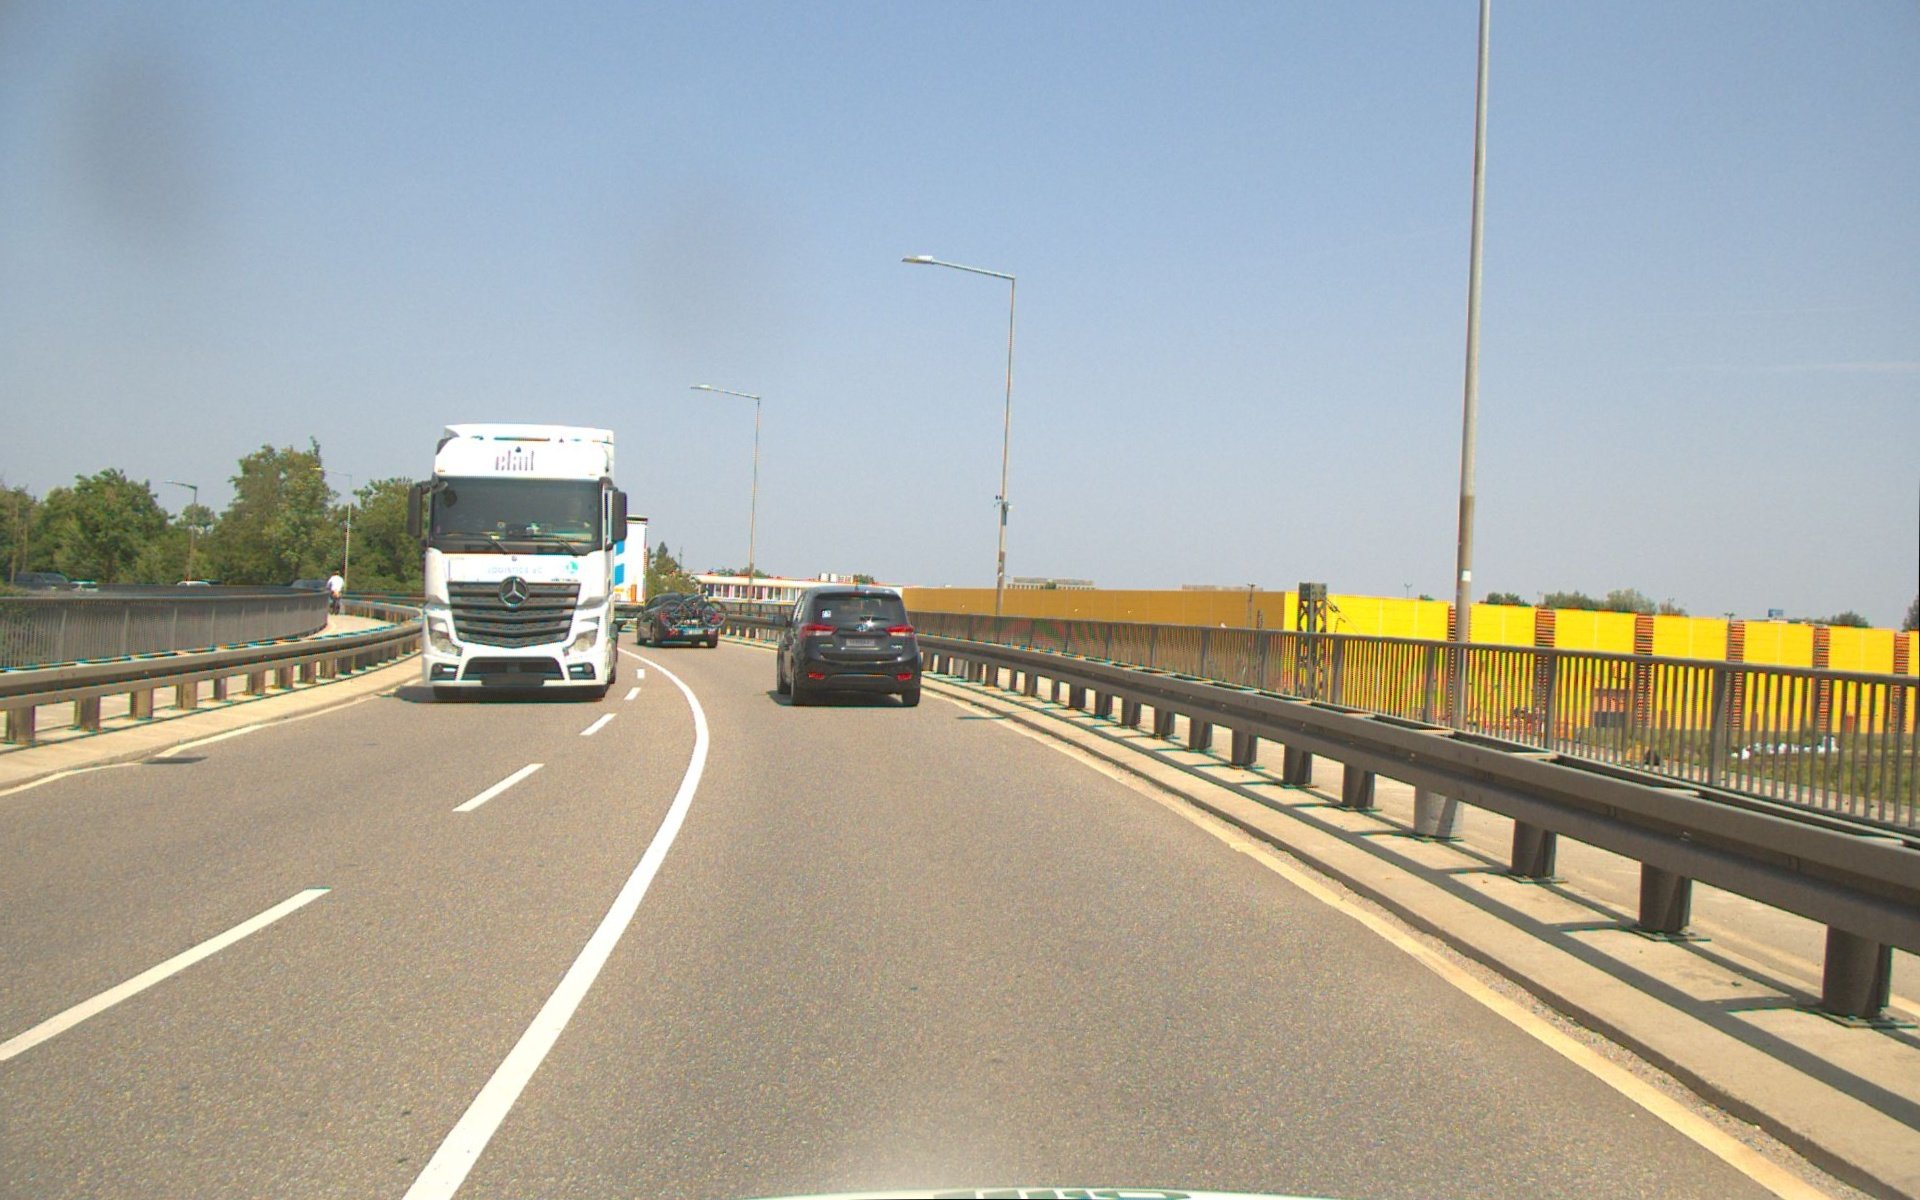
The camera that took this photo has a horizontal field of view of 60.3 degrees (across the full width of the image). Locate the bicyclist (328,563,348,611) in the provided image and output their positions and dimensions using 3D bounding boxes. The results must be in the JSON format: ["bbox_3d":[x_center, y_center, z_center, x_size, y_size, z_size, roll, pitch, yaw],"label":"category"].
[{"bbox_3d":[-25.375,-0.526,67.461,0.618,1.919,0.705,1,0,-31],"label":"bicyclist"}]

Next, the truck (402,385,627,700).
[{"bbox_3d":[-6.466,-0.777,24.830,2.657,4.061,6.170,1,0,-10],"label":"truck"}]

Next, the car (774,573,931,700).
[{"bbox_3d":[-1.599,0.453,23.321,1.885,1.601,3.884,1,1,-8],"label":"car"}]

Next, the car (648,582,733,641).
[{"bbox_3d":[-7.268,0.273,44.322,1.977,1.454,3.764,1,1,-13],"label":"car"}]

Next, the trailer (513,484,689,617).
[{"bbox_3d":[-13.669,-1.776,61.980,3.528,4.460,11.338,1,1,-27],"label":"trailer"}]

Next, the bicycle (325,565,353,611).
[{"bbox_3d":[-25.308,-0.485,67.336,0.691,1.833,2.159,1,0,-30],"label":"bicycle"}]
